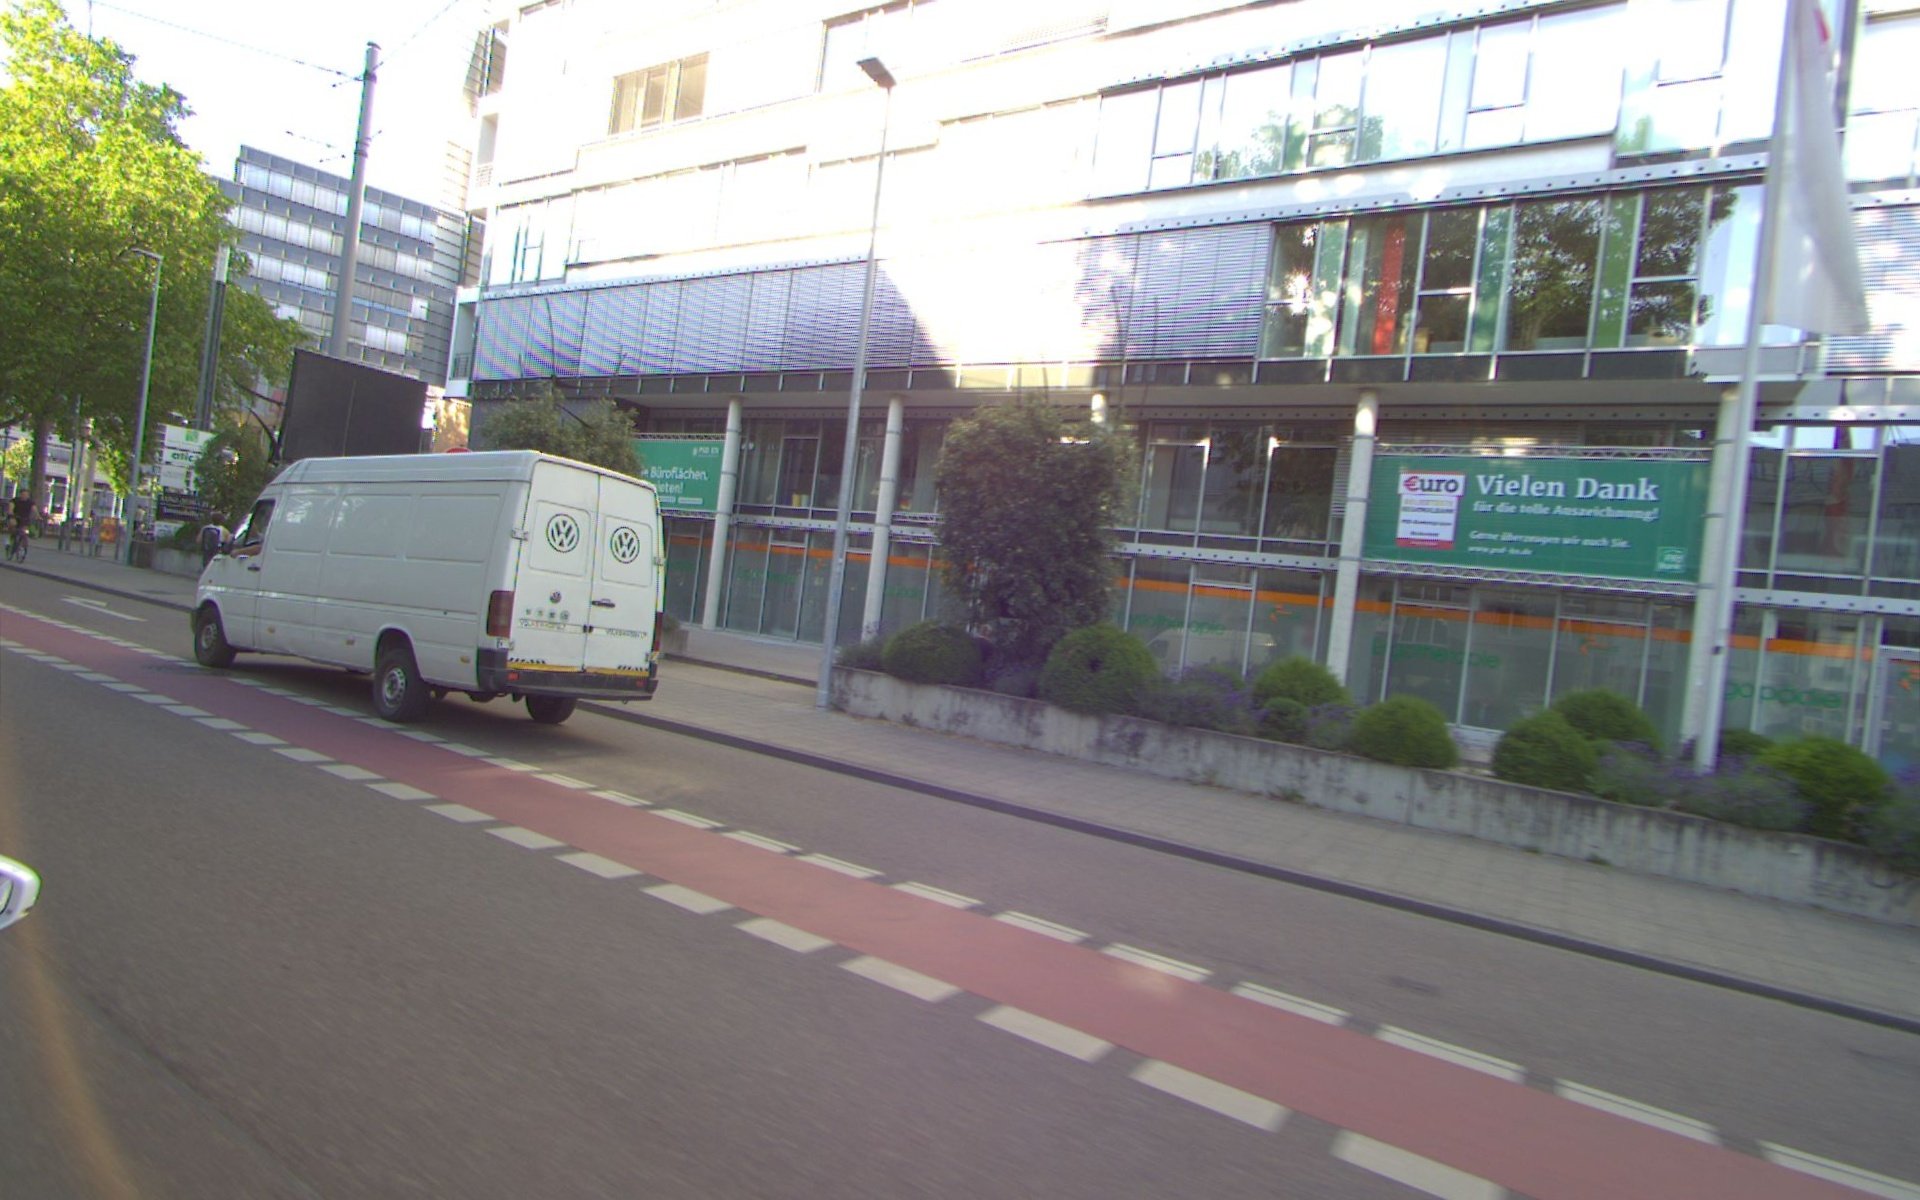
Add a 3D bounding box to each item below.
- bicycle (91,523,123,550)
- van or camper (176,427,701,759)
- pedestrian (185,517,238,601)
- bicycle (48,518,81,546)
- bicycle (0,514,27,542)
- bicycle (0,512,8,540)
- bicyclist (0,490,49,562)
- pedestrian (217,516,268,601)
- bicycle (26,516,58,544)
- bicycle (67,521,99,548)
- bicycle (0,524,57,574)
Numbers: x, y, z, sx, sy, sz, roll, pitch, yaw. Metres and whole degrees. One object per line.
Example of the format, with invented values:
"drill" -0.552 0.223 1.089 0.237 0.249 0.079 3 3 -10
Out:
"bicycle" -36.991 -2.767 43.607 1.738 0.994 0.504 7 1 32
"van or camper" -5.881 -0.247 10.933 6.201 2.748 1.972 7 -1 33
"pedestrian" -16.318 -0.896 21.924 0.891 1.725 0.564 7 3 31
"bicycle" -37.796 -2.866 42.450 1.738 0.994 0.504 7 1 32
"bicycle" -38.676 -2.952 40.996 1.738 0.994 0.468 7 1 32
"bicycle" -39.021 -3.052 40.460 1.868 1.080 0.586 7 1 32
"bicyclist" -24.289 -1.915 26.059 0.936 1.722 0.650 7 0 32
"pedestrian" -16.133 -0.938 22.612 0.891 1.820 0.540 7 3 31
"bicycle" -38.167 -2.905 41.826 1.738 0.994 0.504 7 1 32
"bicycle" -37.478 -2.818 42.974 1.738 0.994 0.504 7 1 32
"bicycle" -24.196 -1.343 25.935 2.429 1.080 0.683 6 1 32
